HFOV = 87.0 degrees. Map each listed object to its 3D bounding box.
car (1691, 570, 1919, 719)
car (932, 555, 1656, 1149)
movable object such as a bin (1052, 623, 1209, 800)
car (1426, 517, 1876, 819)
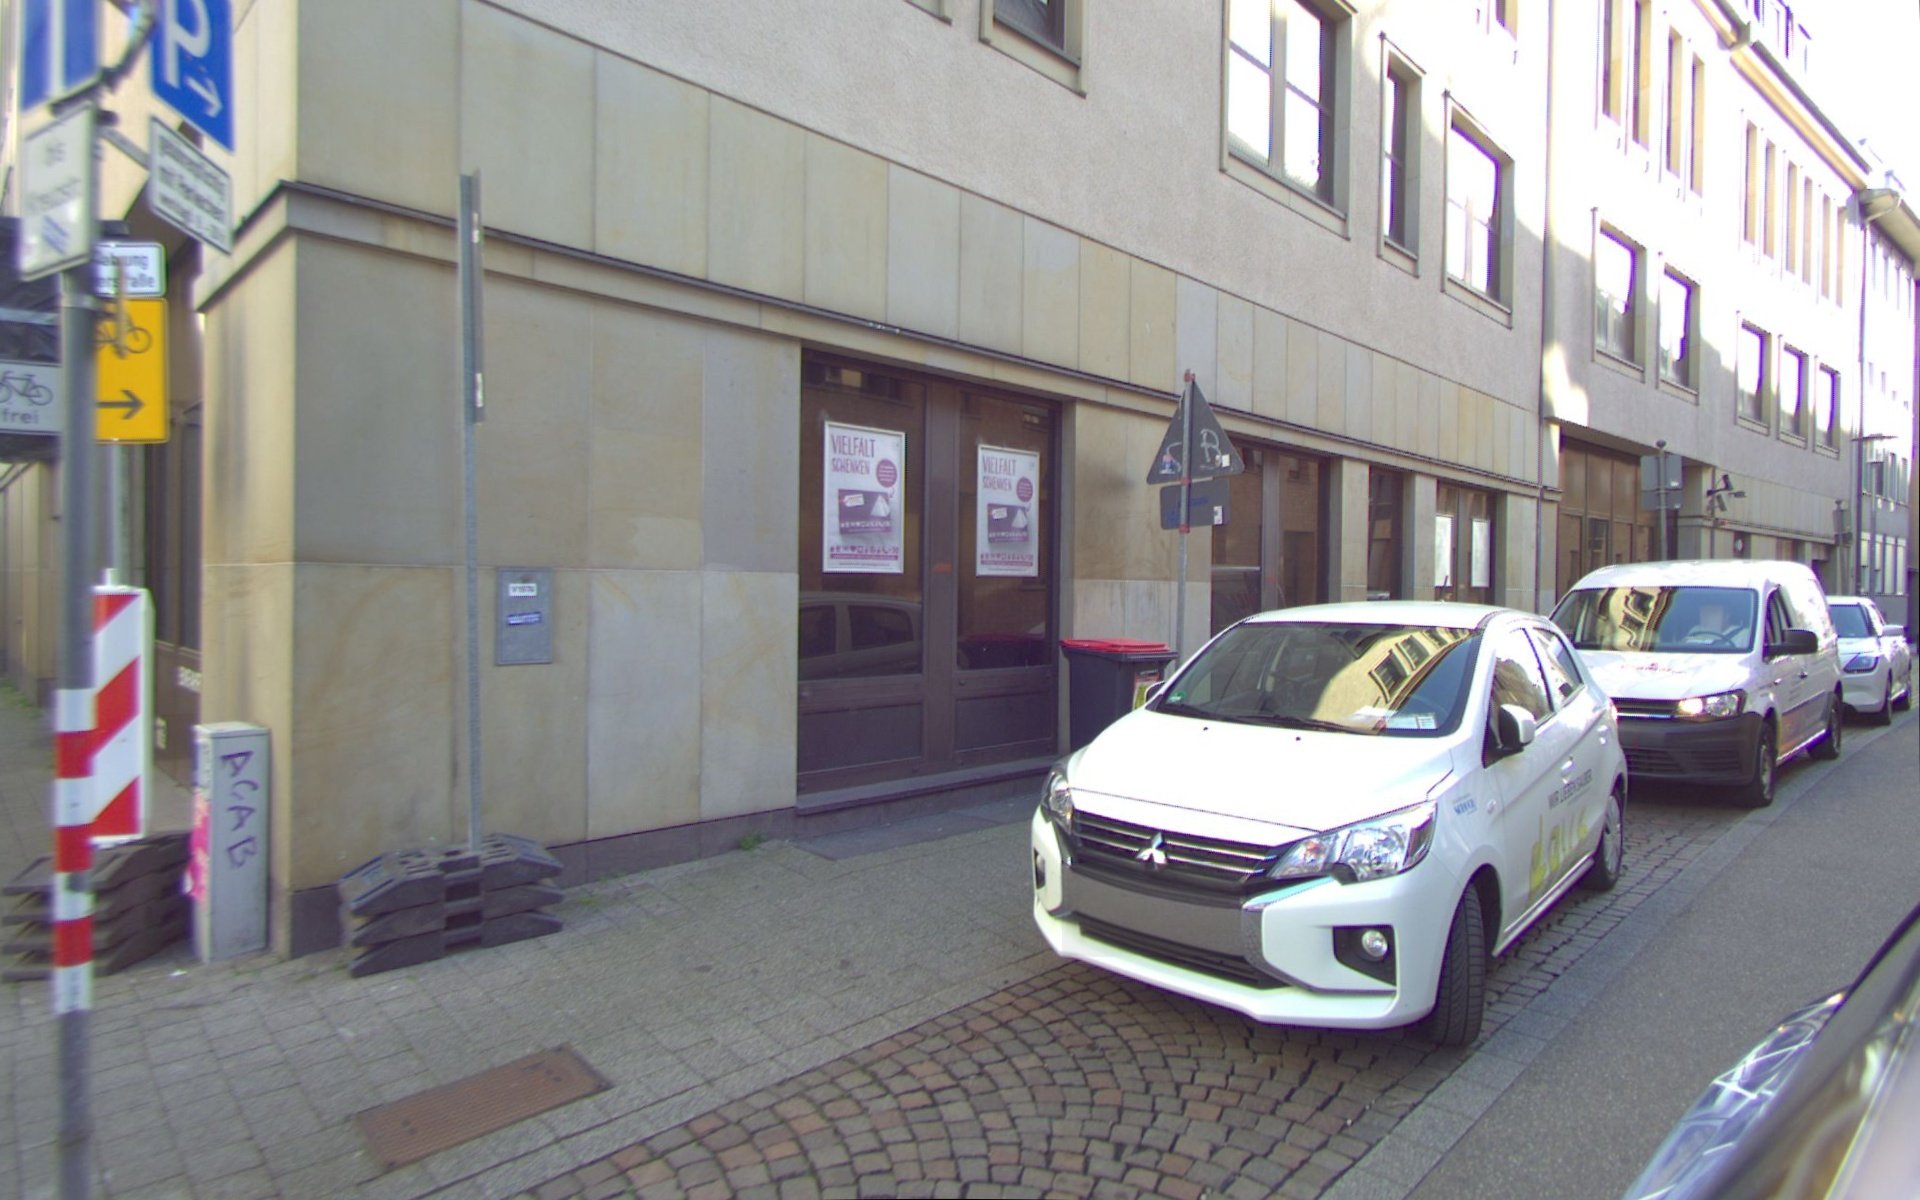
[{"bbox_3d":[10.882,0.514,12.813,3.790,1.604,1.773,0,-3,-41],"label":"car"},{"bbox_3d":[1.860,0.661,4.720,1.730,1.568,3.937,0,0,43],"label":"car"},{"bbox_3d":[1.194,0.723,7.040,0.686,1.100,0.914,0,0,45],"label":"movable object such as a bin"},{"bbox_3d":[6.190,0.459,8.764,5.105,1.885,1.945,0,-3,-42],"label":"car"}]
